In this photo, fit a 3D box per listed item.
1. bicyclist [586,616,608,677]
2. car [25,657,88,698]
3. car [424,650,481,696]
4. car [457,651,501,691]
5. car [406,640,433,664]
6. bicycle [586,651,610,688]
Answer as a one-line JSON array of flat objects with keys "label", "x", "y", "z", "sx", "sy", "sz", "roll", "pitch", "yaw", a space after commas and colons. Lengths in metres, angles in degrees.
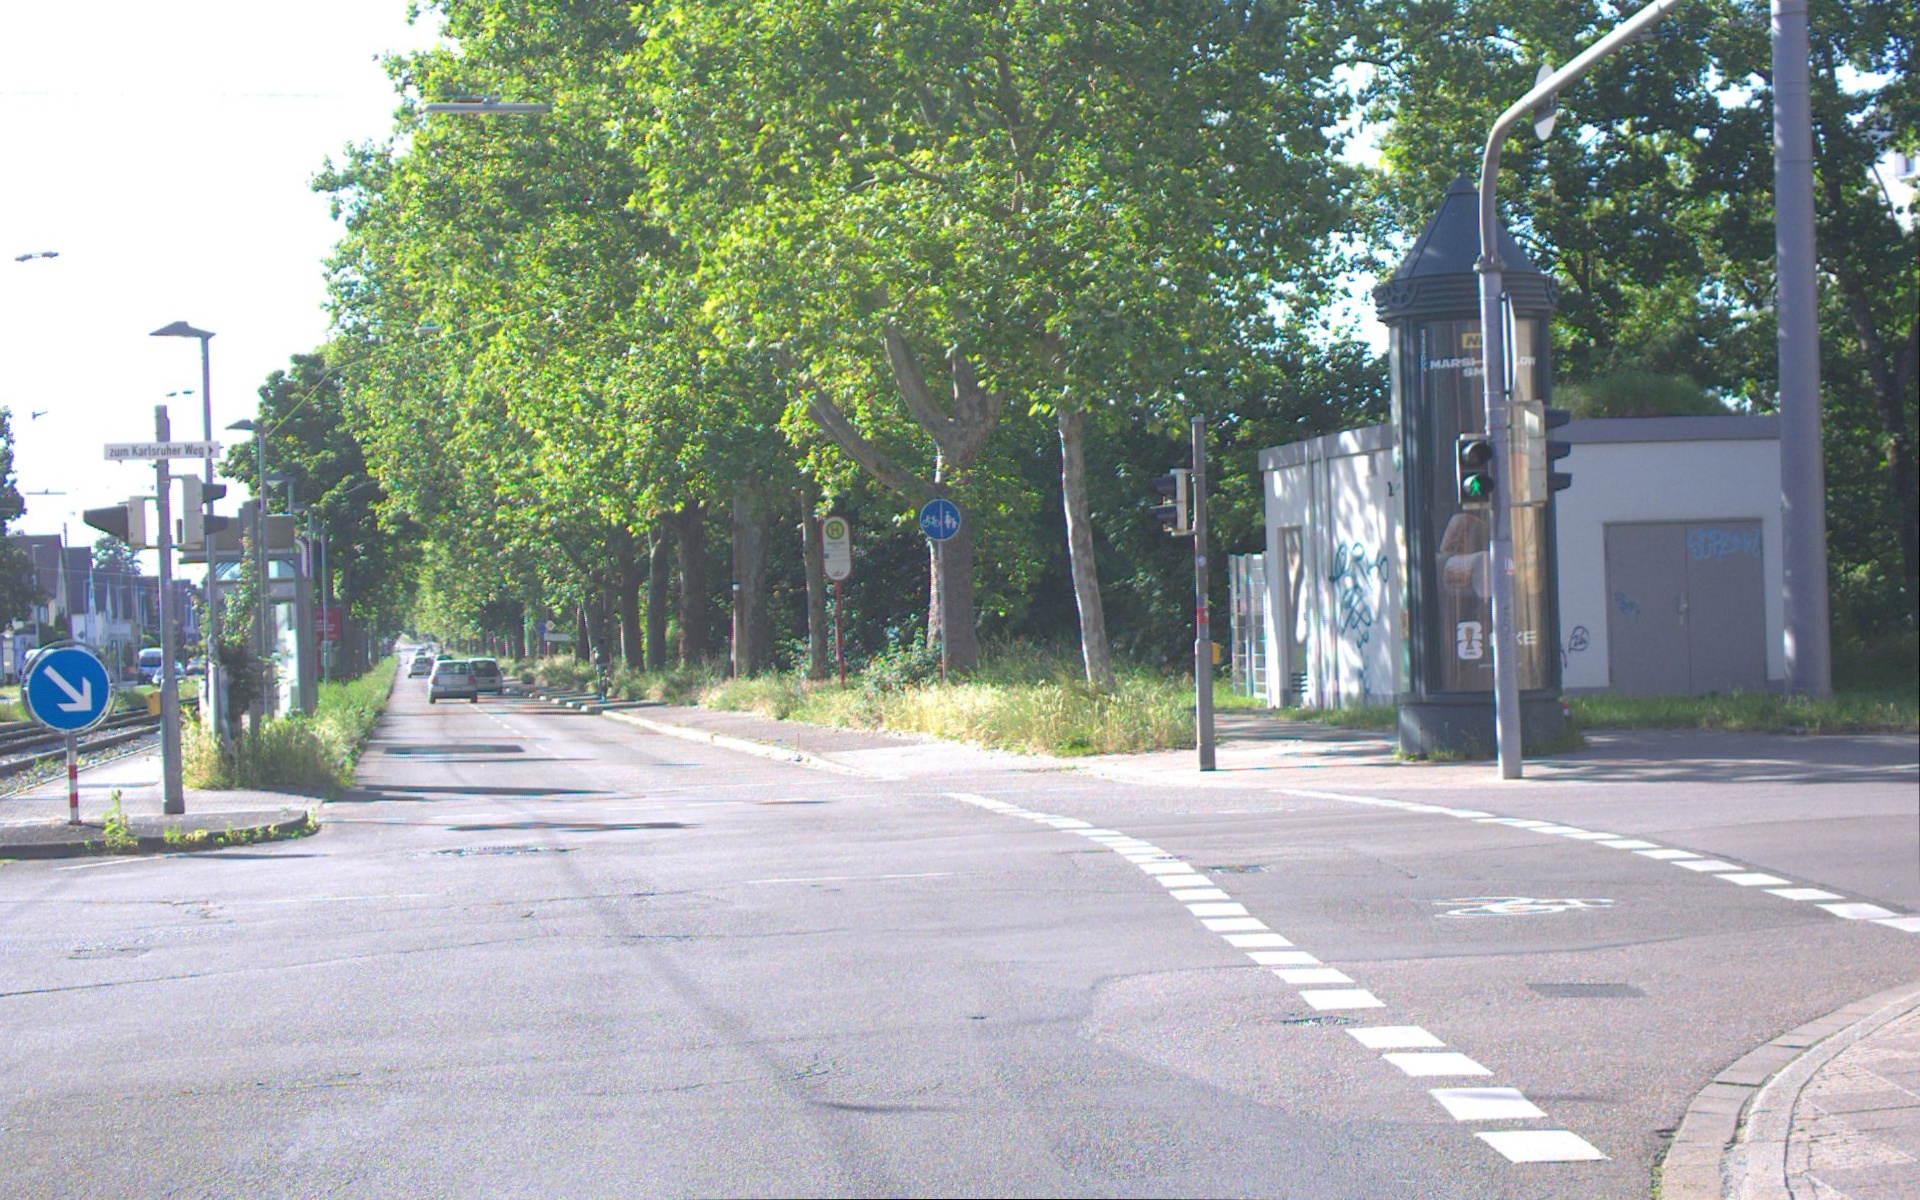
[{"label": "bicyclist", "x": -10.548, "y": 1.353, "z": 99.827, "sx": 0.534, "sy": 1.764, "sz": 0.713, "roll": -2, "pitch": -1, "yaw": -11}, {"label": "car", "x": -34.942, "y": 2.988, "z": 133.057, "sx": 1.993, "sy": 1.464, "sz": 4.377, "roll": -1, "pitch": -1, "yaw": -10}, {"label": "car", "x": -17.109, "y": 2.451, "z": 115.797, "sx": 1.867, "sy": 1.481, "sz": 3.556, "roll": -1, "pitch": -1, "yaw": -9}, {"label": "car", "x": -20.196, "y": 2.965, "z": 144.398, "sx": 1.750, "sy": 1.599, "sz": 3.751, "roll": -1, "pitch": -1, "yaw": -9}, {"label": "car", "x": -37.422, "y": 3.586, "z": 237.890, "sx": 1.750, "sy": 1.599, "sz": 3.581, "roll": -2, "pitch": 0, "yaw": -10}, {"label": "bicycle", "x": -10.517, "y": 2.019, "z": 99.820, "sx": 0.536, "sy": 1.062, "sz": 1.434, "roll": -2, "pitch": -1, "yaw": -11}]
